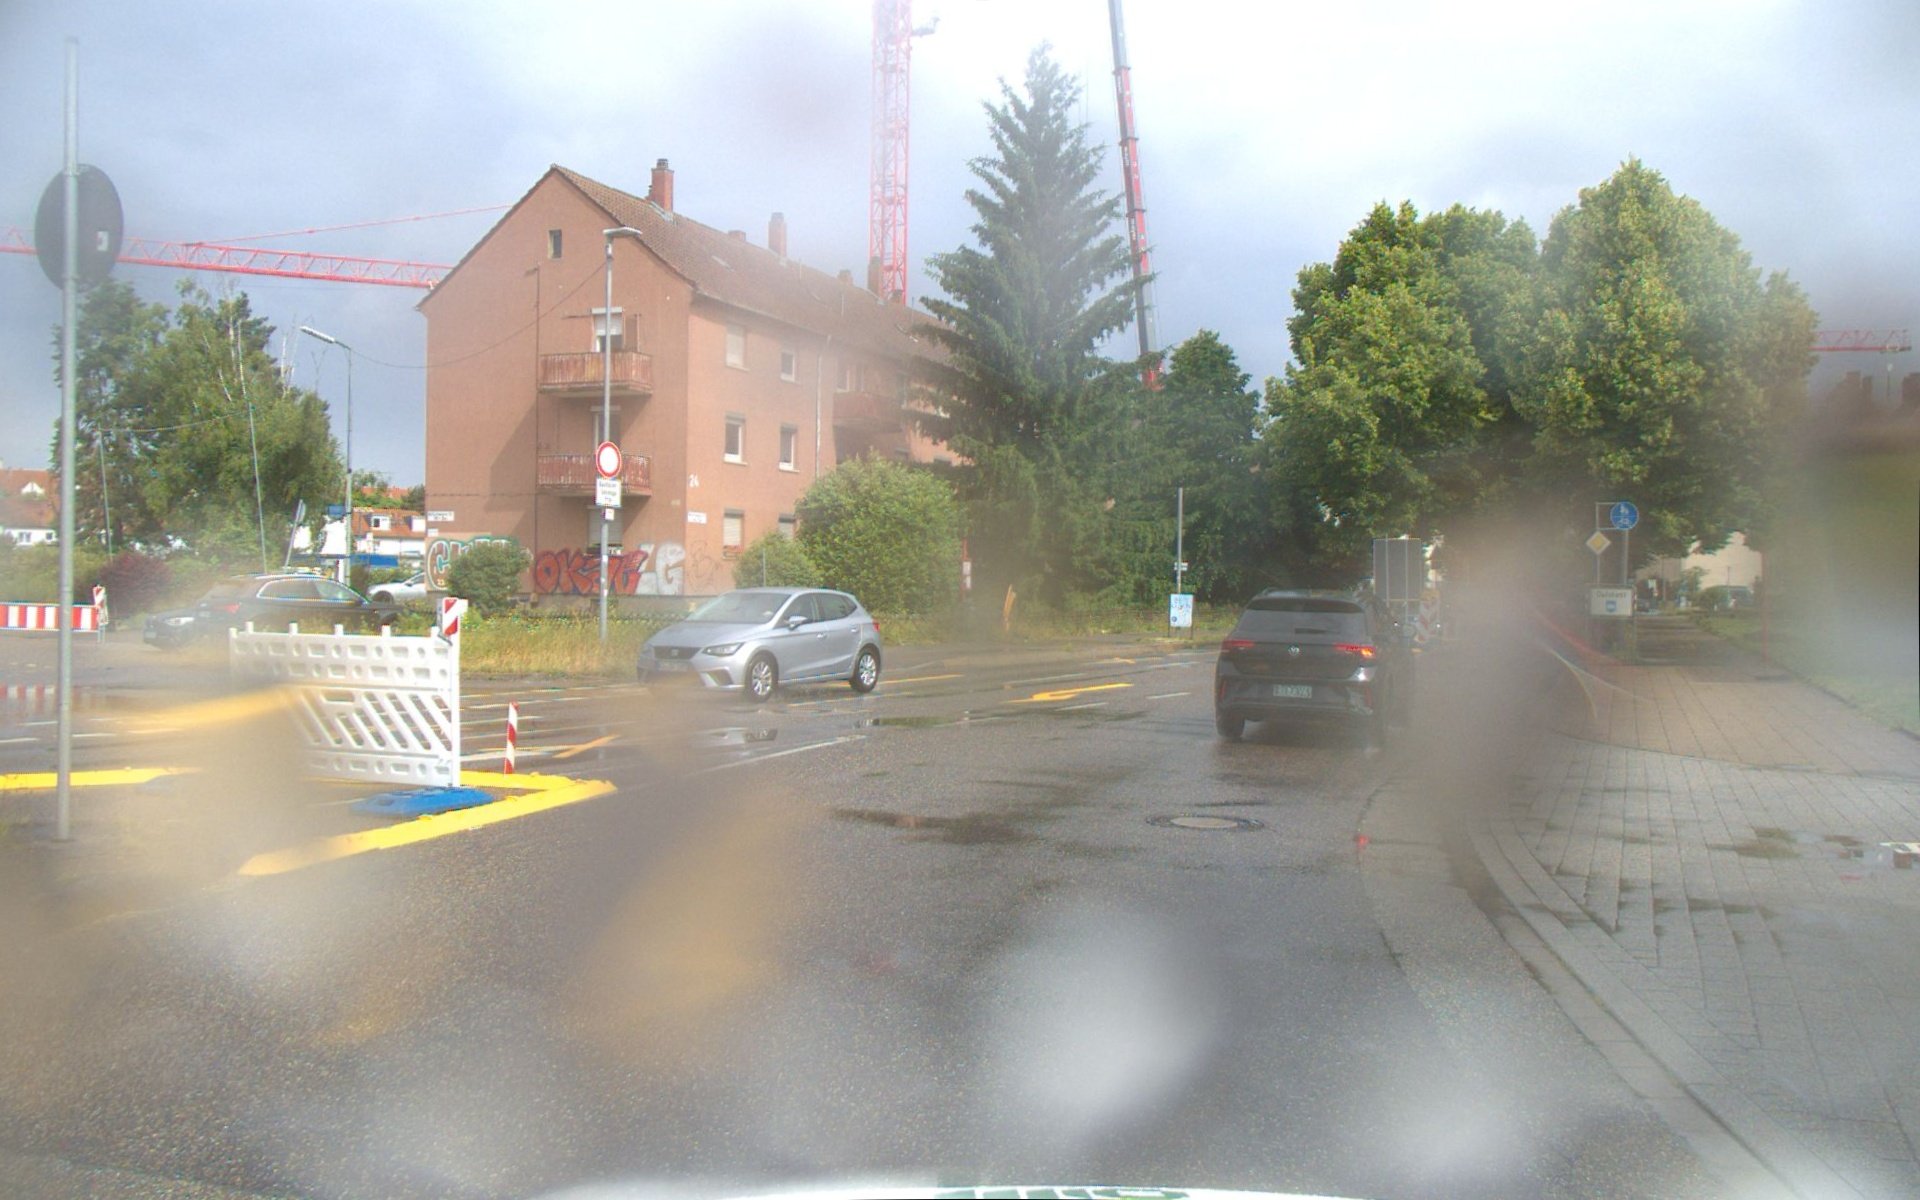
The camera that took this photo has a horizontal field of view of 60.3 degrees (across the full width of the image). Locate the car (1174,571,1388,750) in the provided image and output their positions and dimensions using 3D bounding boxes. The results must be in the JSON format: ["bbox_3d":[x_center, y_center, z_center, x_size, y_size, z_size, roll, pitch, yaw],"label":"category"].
[{"bbox_3d":[3.616,0.546,18.094,1.857,1.645,4.003,3,2,16],"label":"car"}]

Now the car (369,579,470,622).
[{"bbox_3d":[-20.351,0.010,62.380,3.449,1.545,1.612,1,0,-13],"label":"car"}]

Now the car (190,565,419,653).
[{"bbox_3d":[-13.101,0.172,33.151,4.013,1.661,1.596,1,0,-36],"label":"car"}]

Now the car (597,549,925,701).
[{"bbox_3d":[-2.558,0.278,22.552,2.036,1.762,4.690,3,2,29],"label":"car"}]

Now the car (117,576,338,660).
[{"bbox_3d":[-15.322,0.373,34.693,4.013,1.661,1.596,1,0,-36],"label":"car"}]

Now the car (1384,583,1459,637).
[{"bbox_3d":[16.801,0.335,60.050,2.033,1.762,4.698,3,2,22],"label":"car"}]

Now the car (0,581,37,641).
[{"bbox_3d":[-36.506,0.372,61.774,3.918,2.161,1.994,1,0,34],"label":"car"}]
